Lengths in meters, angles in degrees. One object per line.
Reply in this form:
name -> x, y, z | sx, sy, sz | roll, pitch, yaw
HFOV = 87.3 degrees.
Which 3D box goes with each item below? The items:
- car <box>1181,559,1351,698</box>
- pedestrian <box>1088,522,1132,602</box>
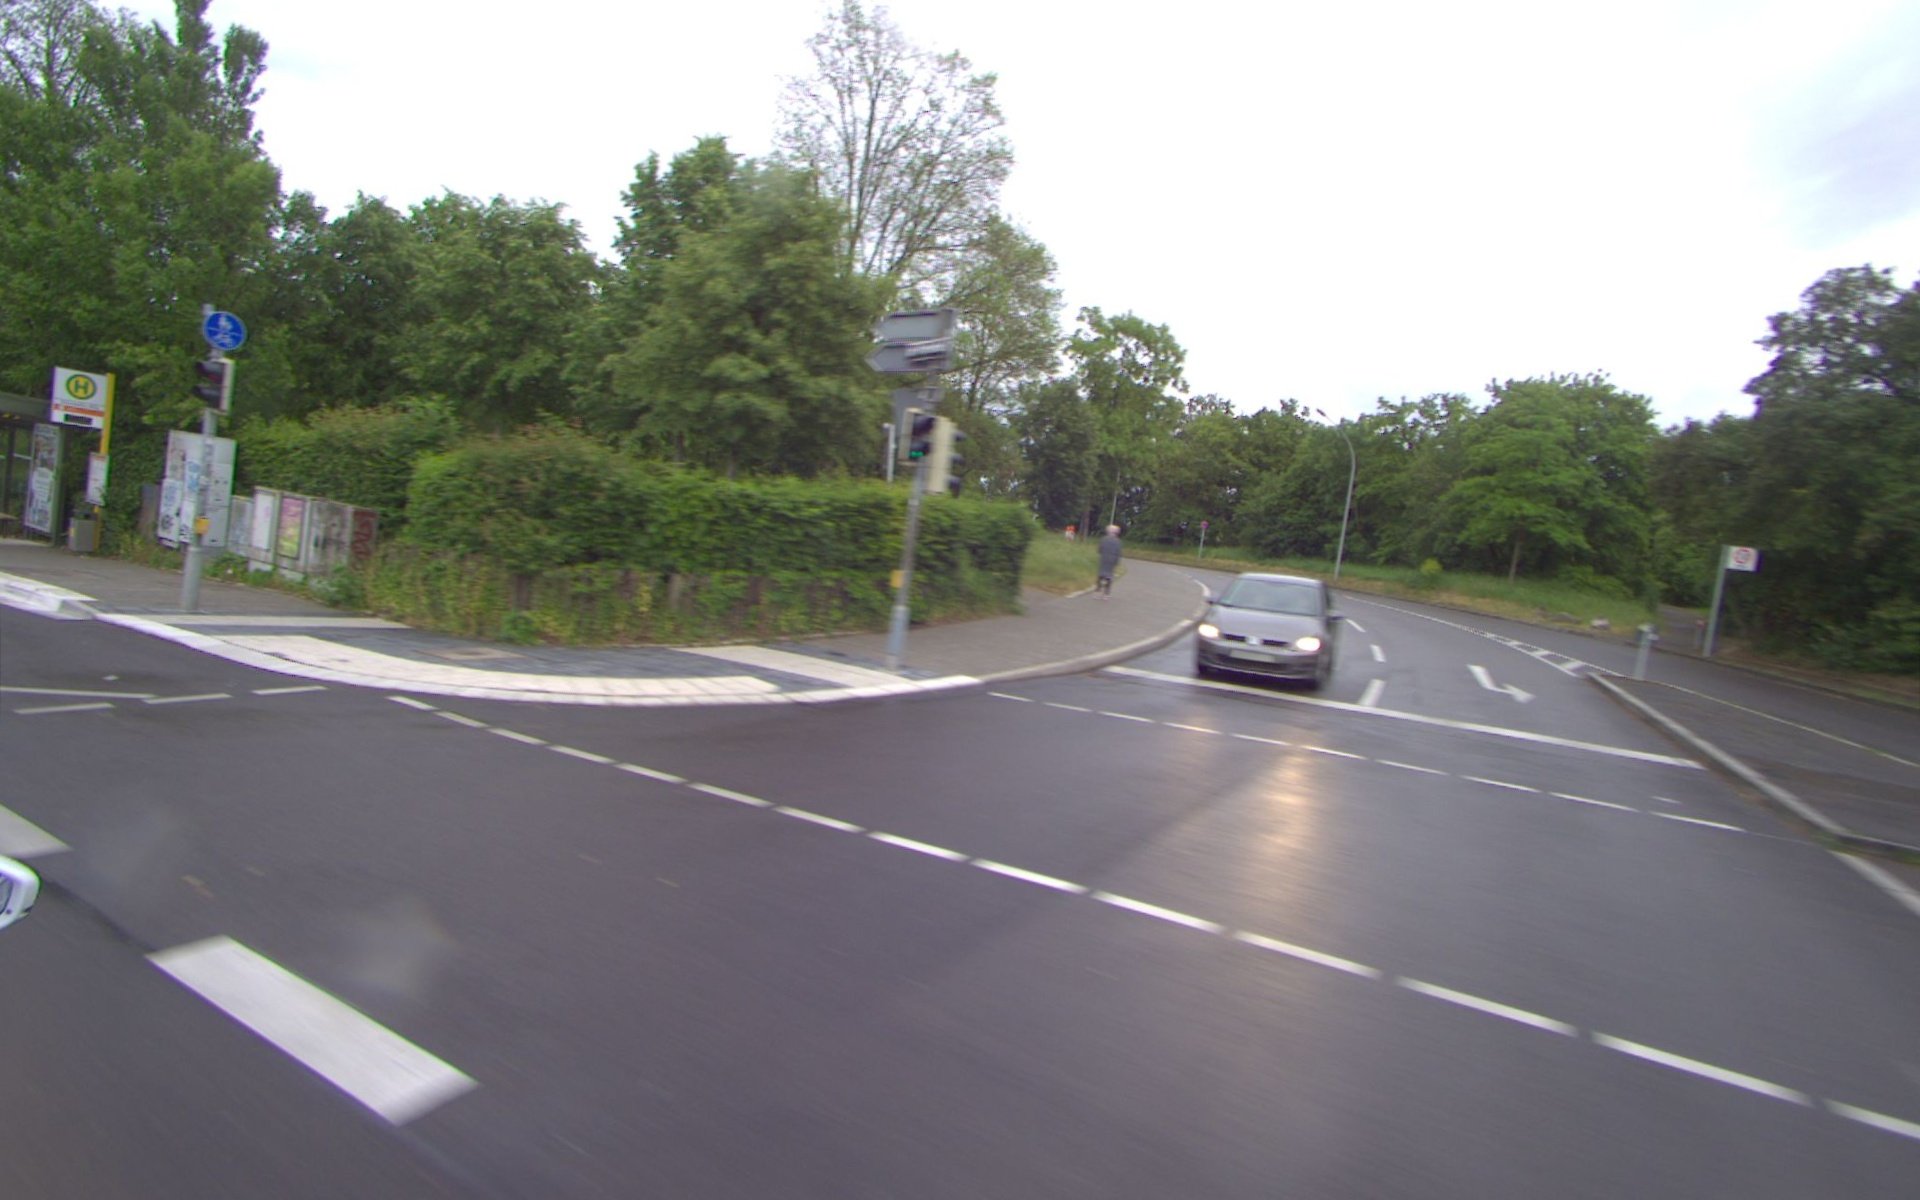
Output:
car -> 4.675, 0.278, 14.964 | 1.856, 1.476, 4.073 | 7, 7, 23
pedestrian -> 3.192, -0.806, 21.461 | 0.678, 1.604, 0.473 | 6, 3, -1
